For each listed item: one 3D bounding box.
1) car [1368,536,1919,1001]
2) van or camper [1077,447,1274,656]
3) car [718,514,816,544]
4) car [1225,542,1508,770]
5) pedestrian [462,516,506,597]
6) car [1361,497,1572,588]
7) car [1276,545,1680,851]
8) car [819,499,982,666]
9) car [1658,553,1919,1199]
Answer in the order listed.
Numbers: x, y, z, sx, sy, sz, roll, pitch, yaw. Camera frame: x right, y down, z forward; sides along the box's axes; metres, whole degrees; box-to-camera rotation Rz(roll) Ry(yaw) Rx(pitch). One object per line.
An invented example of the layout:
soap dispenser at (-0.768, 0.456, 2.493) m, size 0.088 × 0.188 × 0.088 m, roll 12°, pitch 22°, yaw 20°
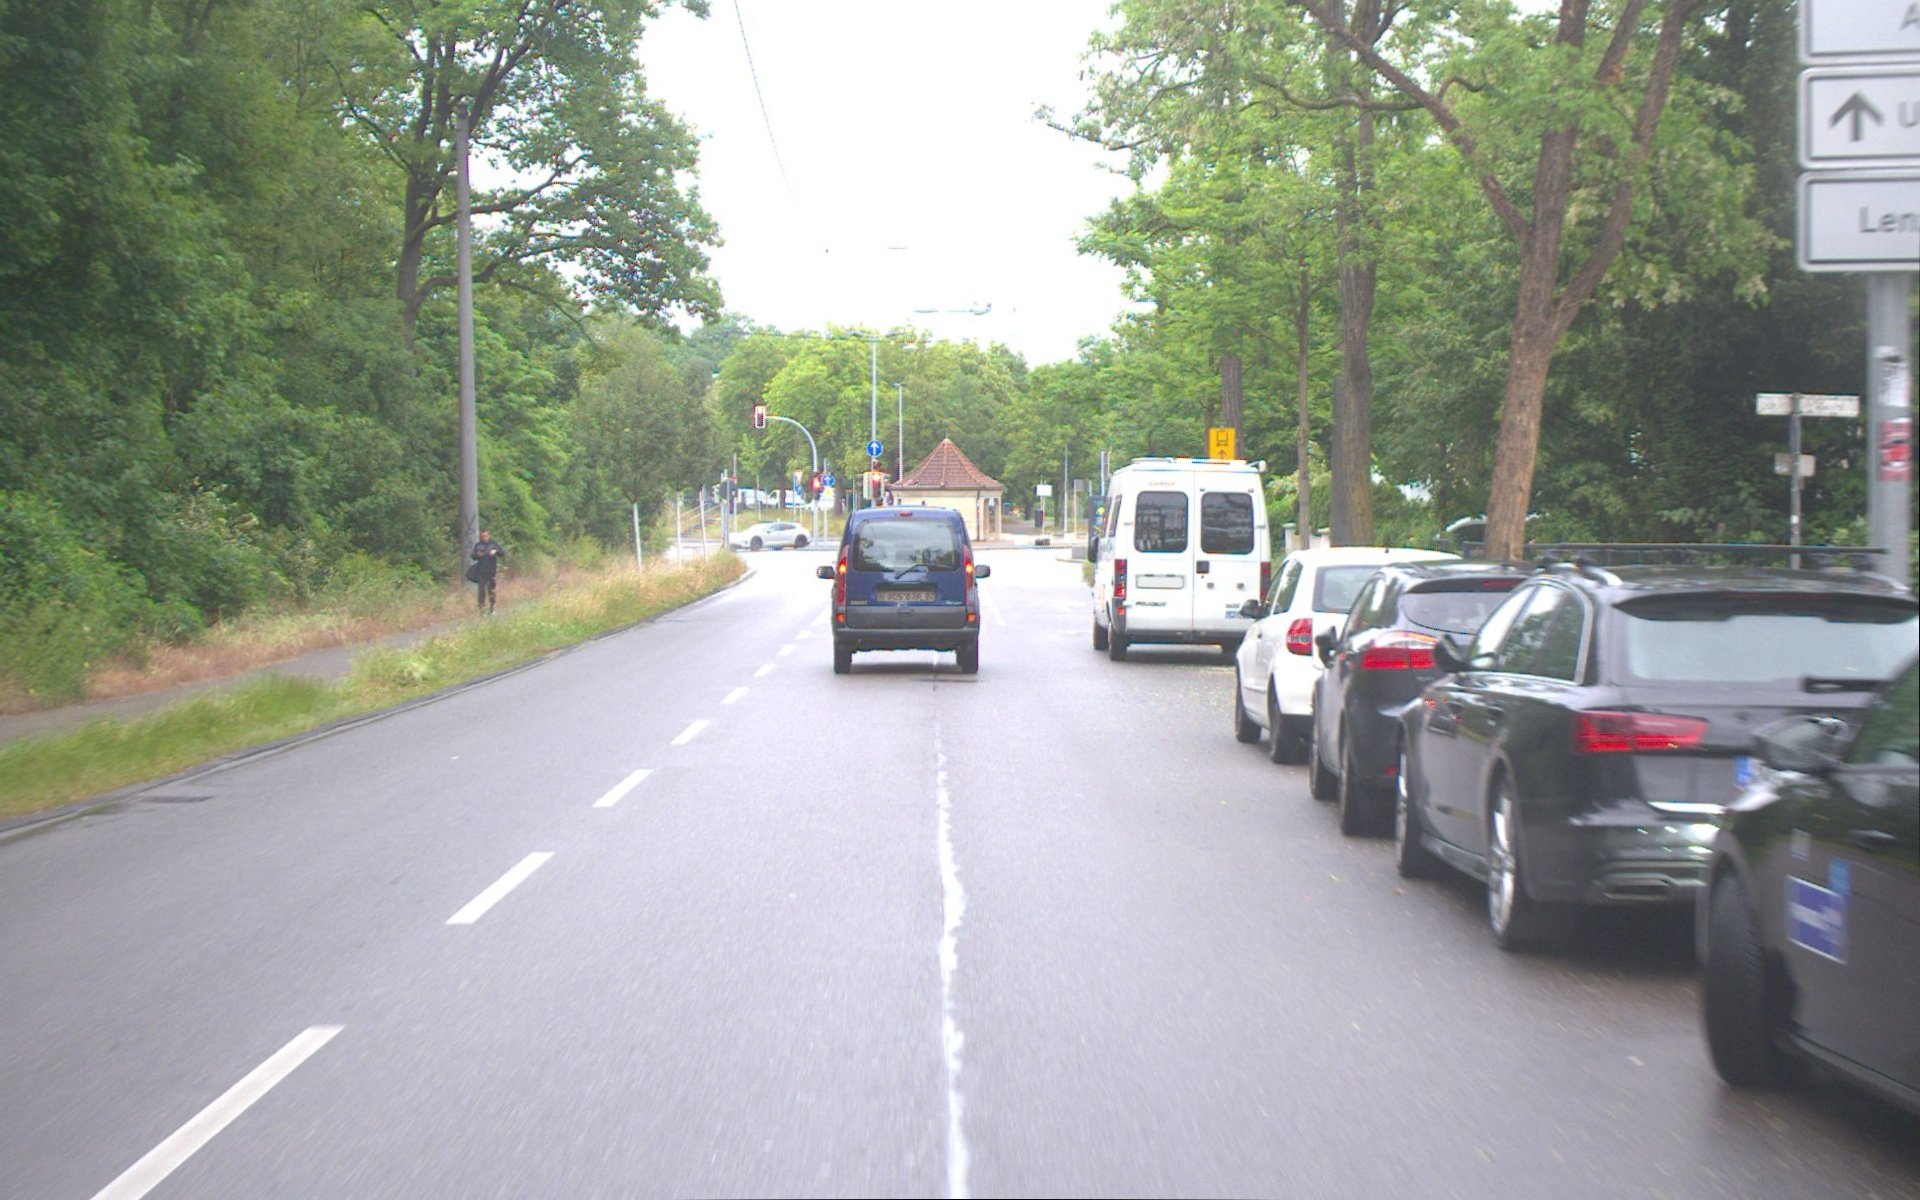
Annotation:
car at (2.859, 0.533, 14.077) m, size 1.753 × 1.521 × 4.823 m, roll 1°, pitch 1°, yaw 0°
van or camper at (2.713, -0.658, 44.625) m, size 2.037 × 2.471 × 5.639 m, roll 2°, pitch 1°, yaw -1°
car at (-9.502, -3.497, 169.595) m, size 4.344 × 1.307 × 2.000 m, roll -3°, pitch 2°, yaw -24°
car at (2.885, 0.347, 25.051) m, size 1.571 × 1.467 × 3.765 m, roll 1°, pitch 1°, yaw 0°
pedestrian at (-9.612, -0.883, 69.384) m, size 0.781 × 1.602 × 0.732 m, roll -1°, pitch 1°, yaw -1°
car at (10.661, -1.220, 72.246) m, size 4.306 × 1.811 × 1.873 m, roll 1°, pitch 2°, yaw 11°
car at (2.780, 0.461, 19.234) m, size 1.617 × 1.465 × 3.944 m, roll 1°, pitch 1°, yaw 0°
car at (-0.667, -0.250, 39.185) m, size 1.731 × 1.780 × 4.000 m, roll 1°, pitch 2°, yaw -1°
car at (2.936, 0.669, 7.887) m, size 1.617 × 1.463 × 4.411 m, roll 1°, pitch 1°, yaw -2°
